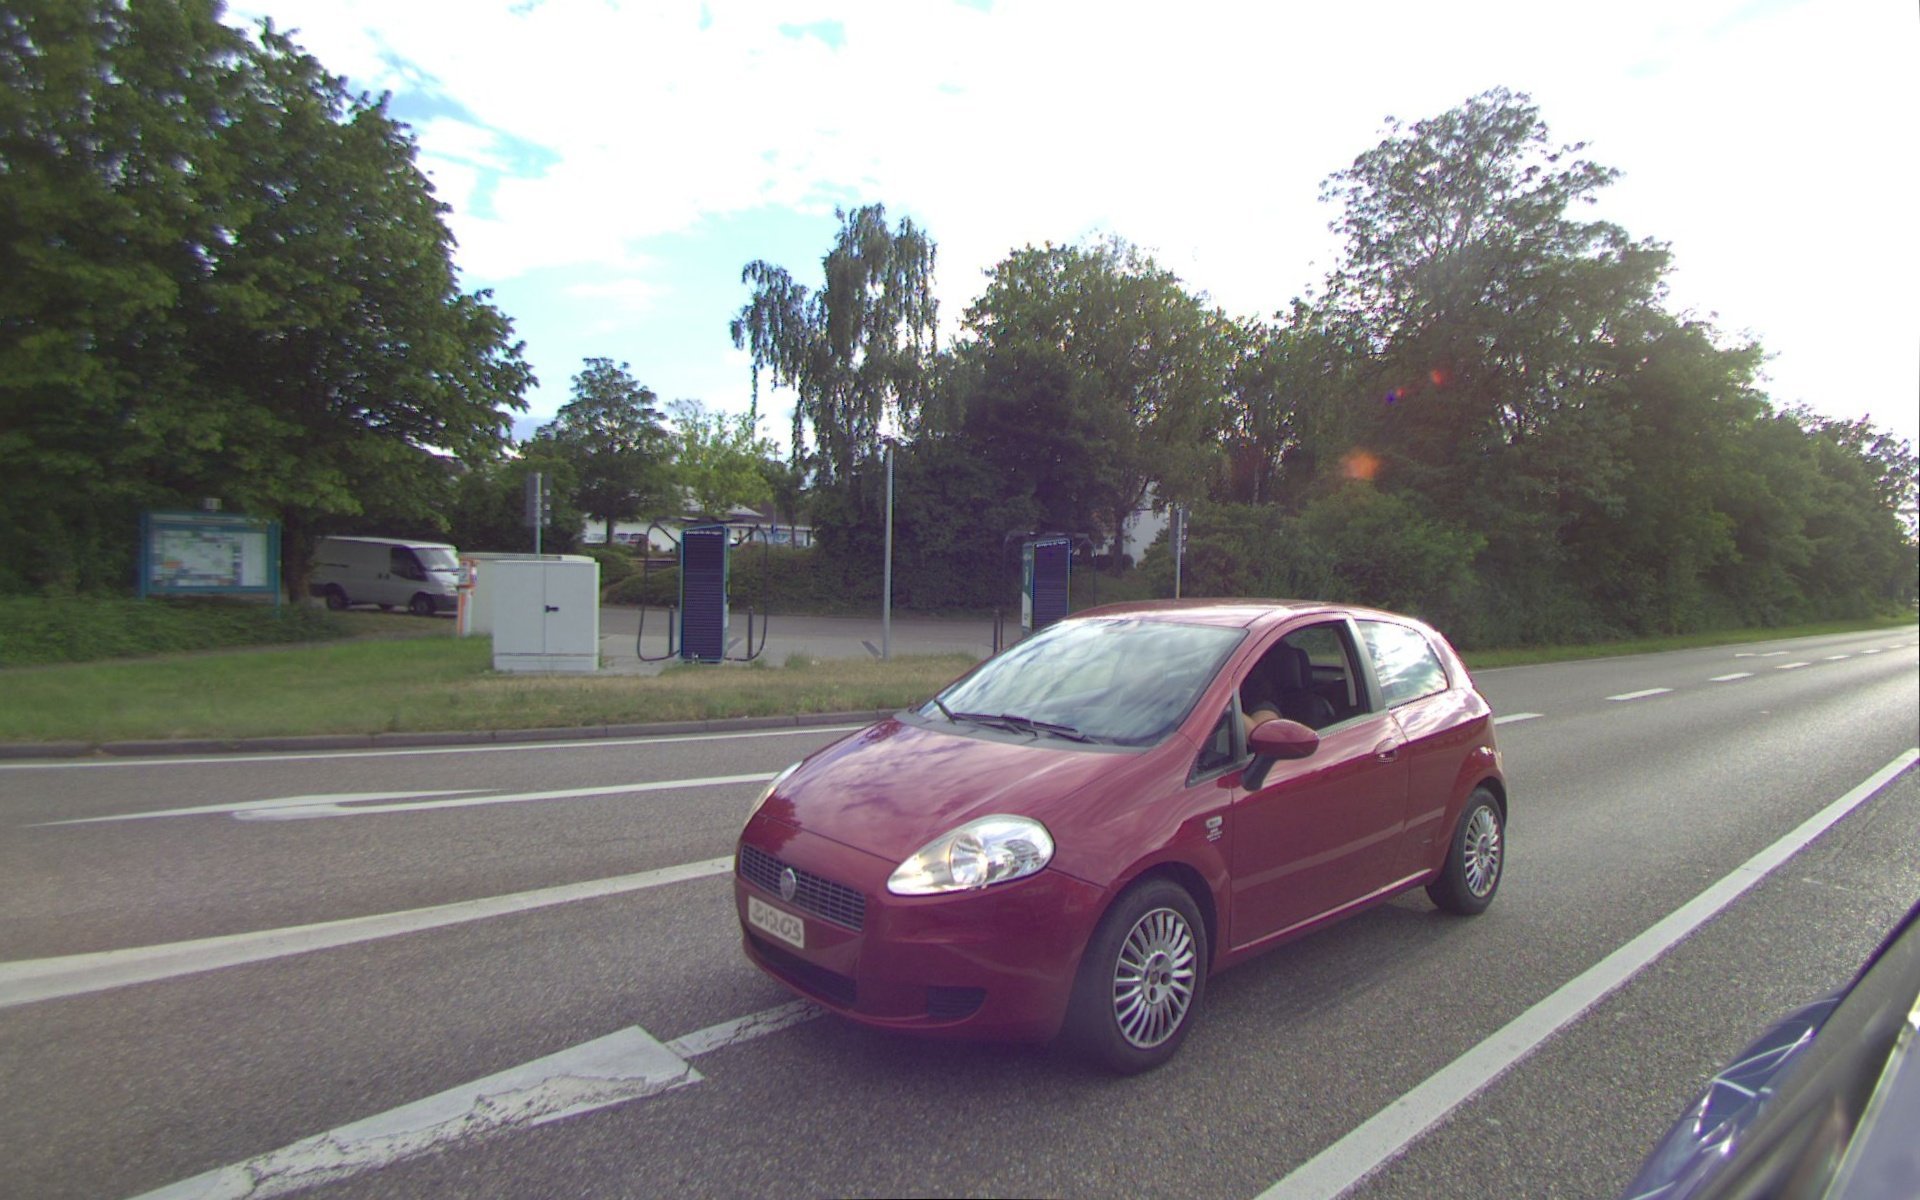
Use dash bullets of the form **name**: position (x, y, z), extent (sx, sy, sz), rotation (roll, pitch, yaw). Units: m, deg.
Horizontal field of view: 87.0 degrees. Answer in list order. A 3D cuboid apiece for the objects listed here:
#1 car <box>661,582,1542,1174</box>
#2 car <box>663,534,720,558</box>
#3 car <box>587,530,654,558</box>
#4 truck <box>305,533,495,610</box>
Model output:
- **car**: position (0.908, 0.669, 4.418), extent (3.925, 1.450, 1.665), rotation (0, 1, -41)
- **car**: position (-17.960, -3.581, 67.557), extent (1.968, 1.382, 3.989), rotation (-1, 1, -45)
- **car**: position (-21.479, -3.529, 64.011), extent (3.966, 1.583, 1.979), rotation (0, 0, 30)
- **truck**: position (-15.393, -0.784, 27.849), extent (4.602, 2.022, 1.816), rotation (1, 0, 14)
